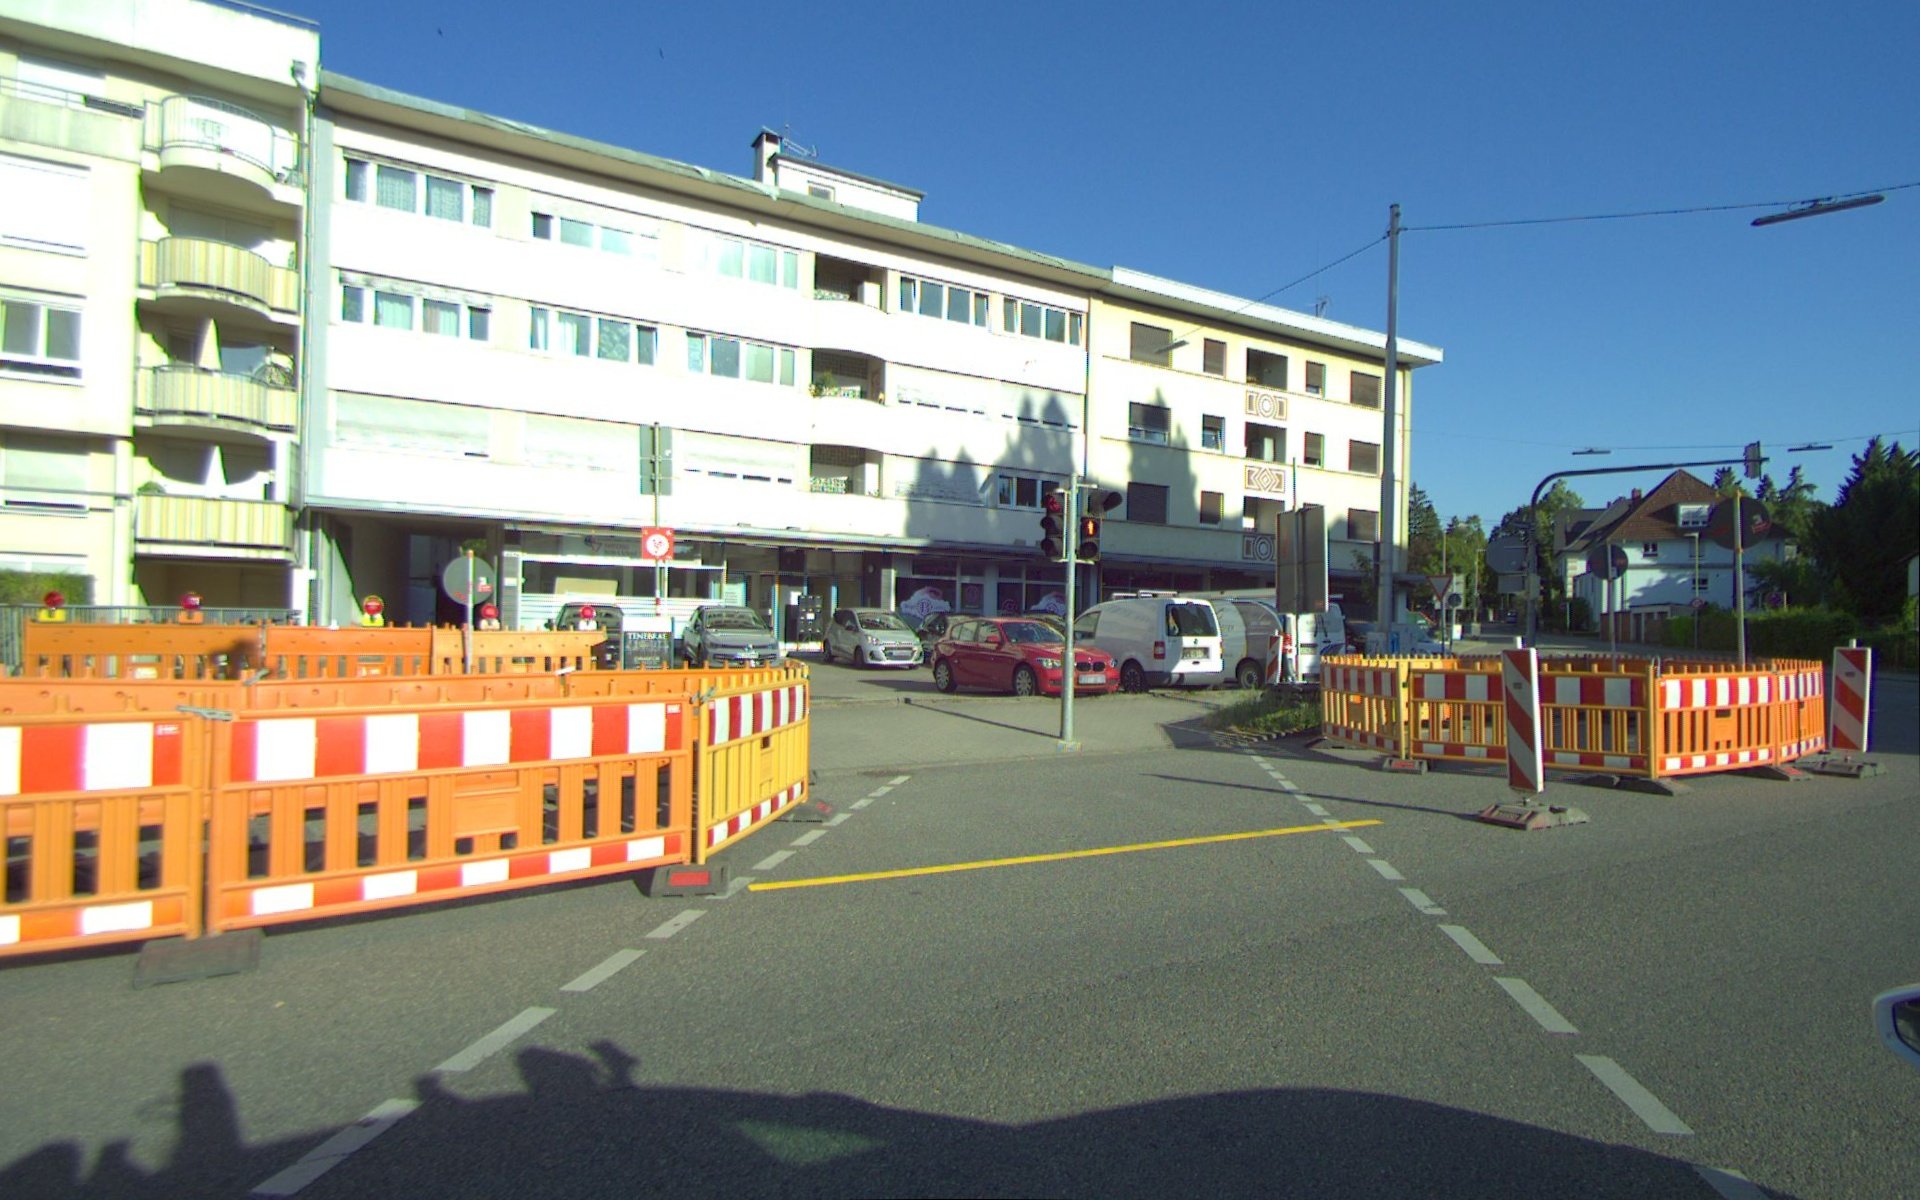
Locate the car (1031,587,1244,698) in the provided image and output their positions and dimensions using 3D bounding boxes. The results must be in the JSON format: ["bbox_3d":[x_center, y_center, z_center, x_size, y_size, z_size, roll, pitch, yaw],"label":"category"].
[{"bbox_3d":[3.309,0.728,19.619,1.973,1.876,4.300,1,0,-25],"label":"car"}]

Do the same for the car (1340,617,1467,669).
[{"bbox_3d":[15.940,1.514,36.349,1.966,1.632,4.315,1,0,-14],"label":"car"}]

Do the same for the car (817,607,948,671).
[{"bbox_3d":[-2.121,0.960,26.259,1.973,1.417,4.299,1,0,-26],"label":"car"}]

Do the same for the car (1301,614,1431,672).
[{"bbox_3d":[13.867,1.432,34.579,1.966,1.738,4.315,1,0,-14],"label":"car"}]

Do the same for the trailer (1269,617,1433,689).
[{"bbox_3d":[8.894,1.159,23.063,1.555,1.415,3.238,1,0,-30],"label":"trailer"}]

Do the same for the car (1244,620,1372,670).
[{"bbox_3d":[11.521,1.468,33.610,1.966,1.417,4.315,1,0,-14],"label":"car"}]

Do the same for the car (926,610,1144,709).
[{"bbox_3d":[1.233,0.980,18.204,1.978,1.499,3.969,1,0,-32],"label":"car"}]

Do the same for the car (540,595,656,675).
[{"bbox_3d":[-8.078,0.709,22.181,1.973,1.532,4.299,1,0,-26],"label":"car"}]

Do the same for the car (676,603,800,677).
[{"bbox_3d":[-5.382,0.886,23.929,1.973,1.530,4.299,1,0,-26],"label":"car"}]

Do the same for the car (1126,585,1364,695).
[{"bbox_3d":[5.797,0.729,21.026,2.092,1.991,4.645,1,0,-30],"label":"car"}]
